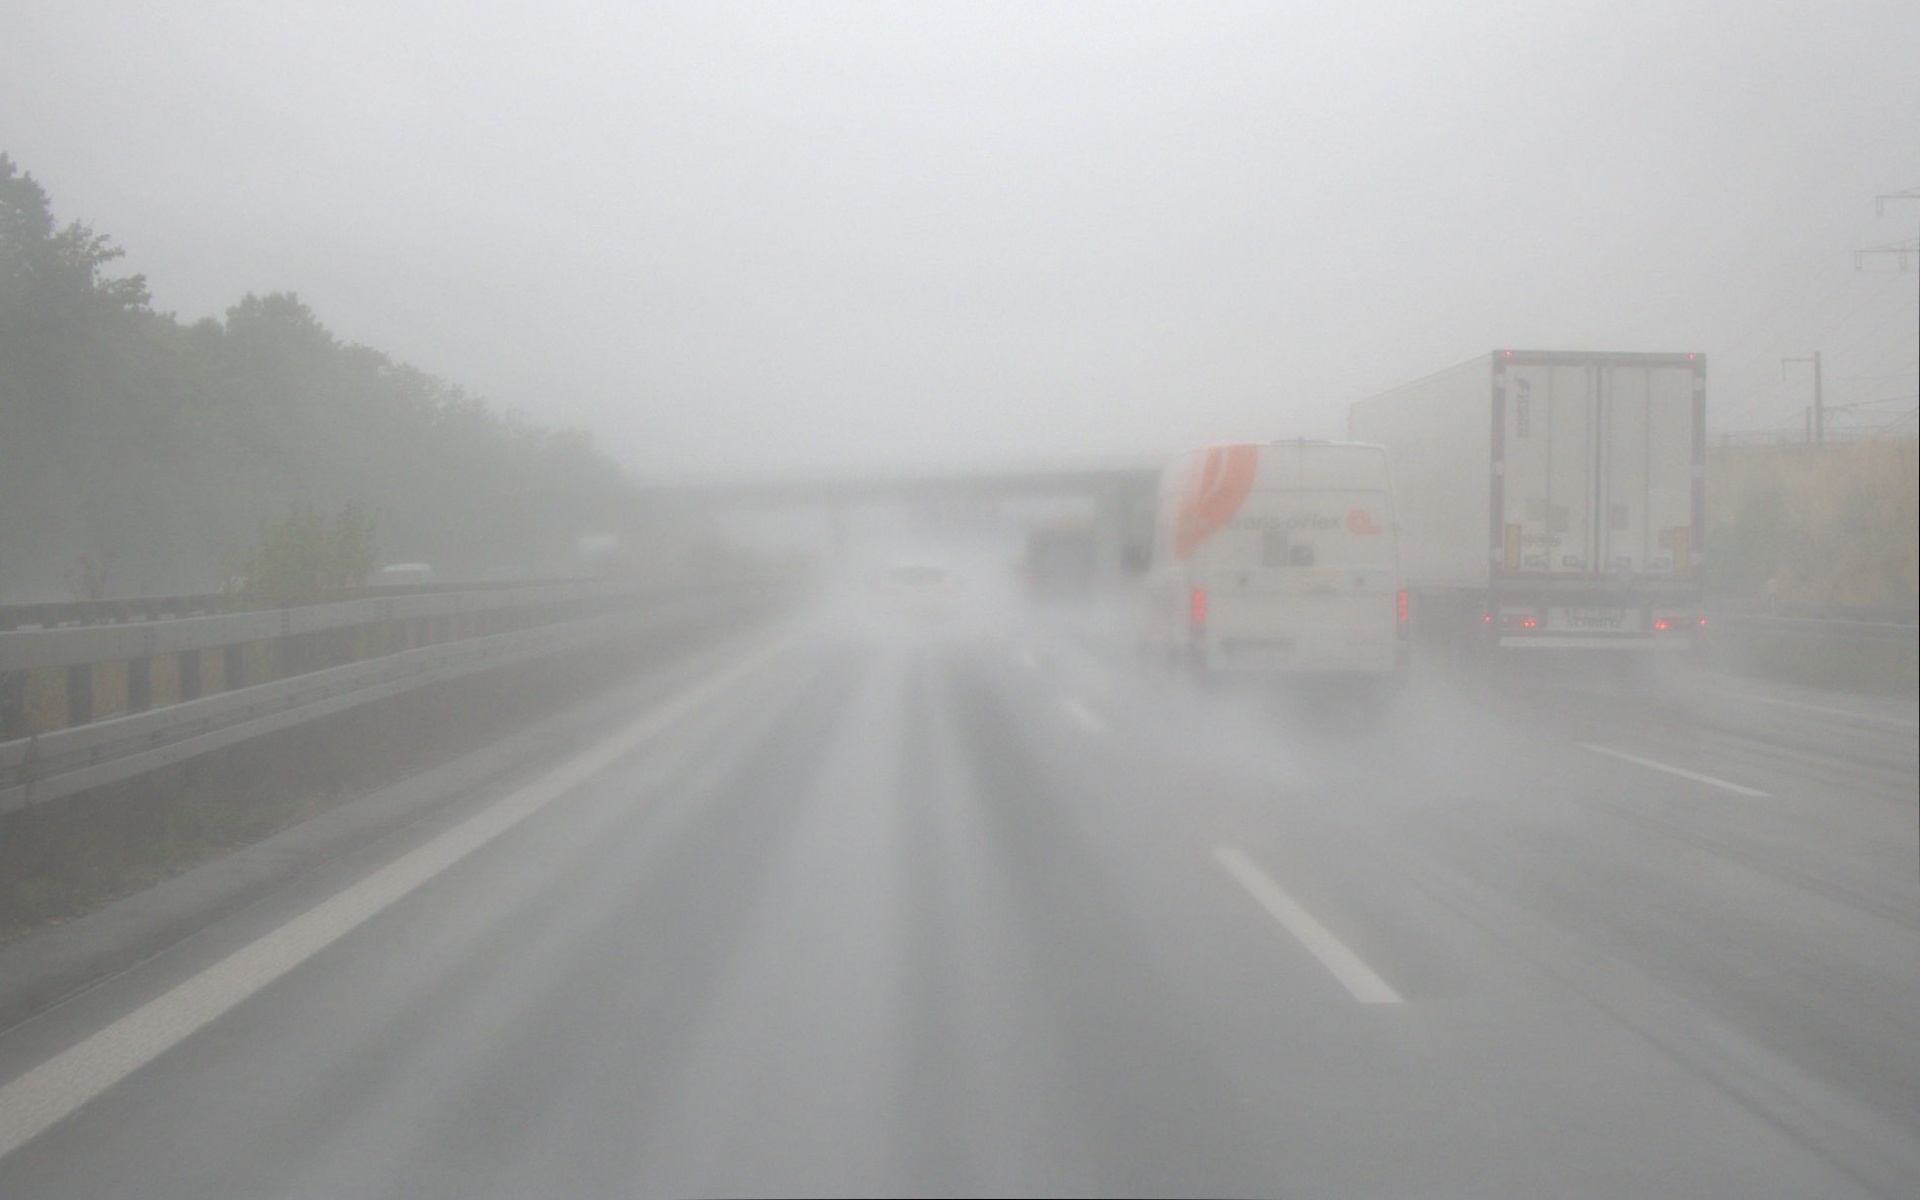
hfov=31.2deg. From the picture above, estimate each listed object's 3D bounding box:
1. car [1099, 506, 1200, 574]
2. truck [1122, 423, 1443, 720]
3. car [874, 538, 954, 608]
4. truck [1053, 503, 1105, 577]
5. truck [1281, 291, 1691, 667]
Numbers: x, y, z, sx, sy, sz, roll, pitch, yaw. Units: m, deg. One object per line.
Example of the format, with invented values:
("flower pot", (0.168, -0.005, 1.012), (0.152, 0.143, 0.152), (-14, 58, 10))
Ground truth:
("car", (5.843, -1.885, 106.682), (2.788, 2.006, 4.993), (1, 2, -1))
("truck", (2.865, -0.332, 31.942), (2.419, 2.484, 5.560), (1, 2, 0))
("car", (-0.969, -0.583, 72.174), (1.605, 1.333, 3.849), (1, 2, -1))
("truck", (5.786, -2.968, 167.789), (2.109, 3.504, 5.248), (1, 2, -2))
("truck", (7.223, -1.626, 50.412), (3.039, 4.572, 16.352), (1, 1, -1))
